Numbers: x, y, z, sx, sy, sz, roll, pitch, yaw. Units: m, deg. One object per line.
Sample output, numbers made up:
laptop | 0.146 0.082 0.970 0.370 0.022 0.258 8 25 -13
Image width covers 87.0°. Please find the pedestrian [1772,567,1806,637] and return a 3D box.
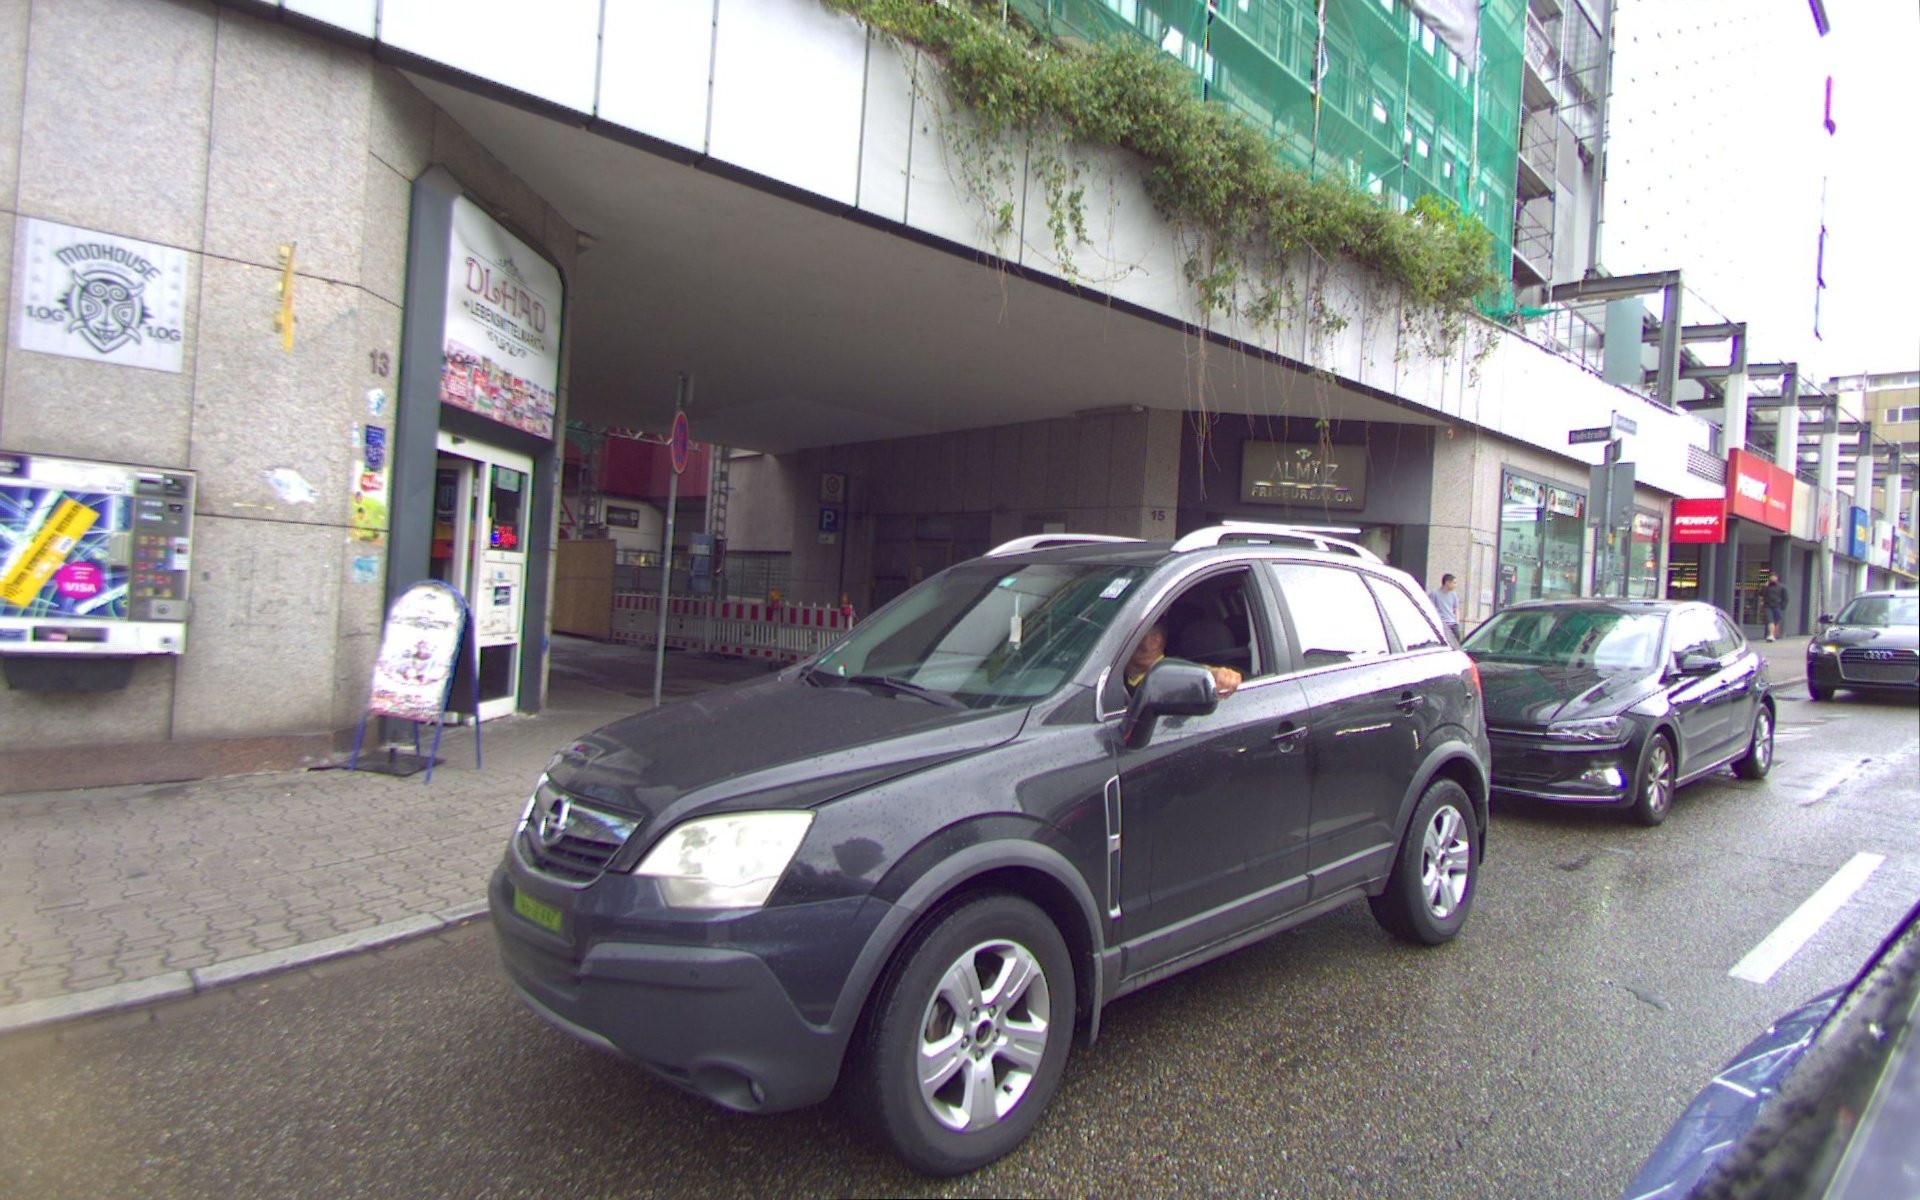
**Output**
pedestrian | 20.396 0.033 24.887 0.570 1.699 0.509 -1 3 -42

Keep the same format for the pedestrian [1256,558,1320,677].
pedestrian | 5.249 0.256 16.238 0.730 1.838 0.773 2 2 3

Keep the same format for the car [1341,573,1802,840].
car | 4.830 0.625 7.767 4.088 1.523 1.759 1 0 -39

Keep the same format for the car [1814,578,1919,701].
car | 14.136 0.504 14.772 4.089 1.628 1.841 -1 1 -39

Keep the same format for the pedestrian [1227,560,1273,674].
pedestrian | 4.234 0.238 14.770 0.630 1.615 0.574 0 1 17

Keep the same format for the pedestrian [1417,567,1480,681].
pedestrian | 7.371 0.339 15.272 0.721 1.663 0.637 -1 1 -44

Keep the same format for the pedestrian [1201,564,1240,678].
pedestrian | 4.008 0.316 15.605 0.474 1.729 0.467 0 0 1

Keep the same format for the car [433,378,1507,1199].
car | 0.401 0.477 3.984 4.090 1.788 1.763 1 0 -41

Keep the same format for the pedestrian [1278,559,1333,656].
pedestrian | 6.032 0.110 17.677 0.568 1.647 0.677 -1 3 -34
